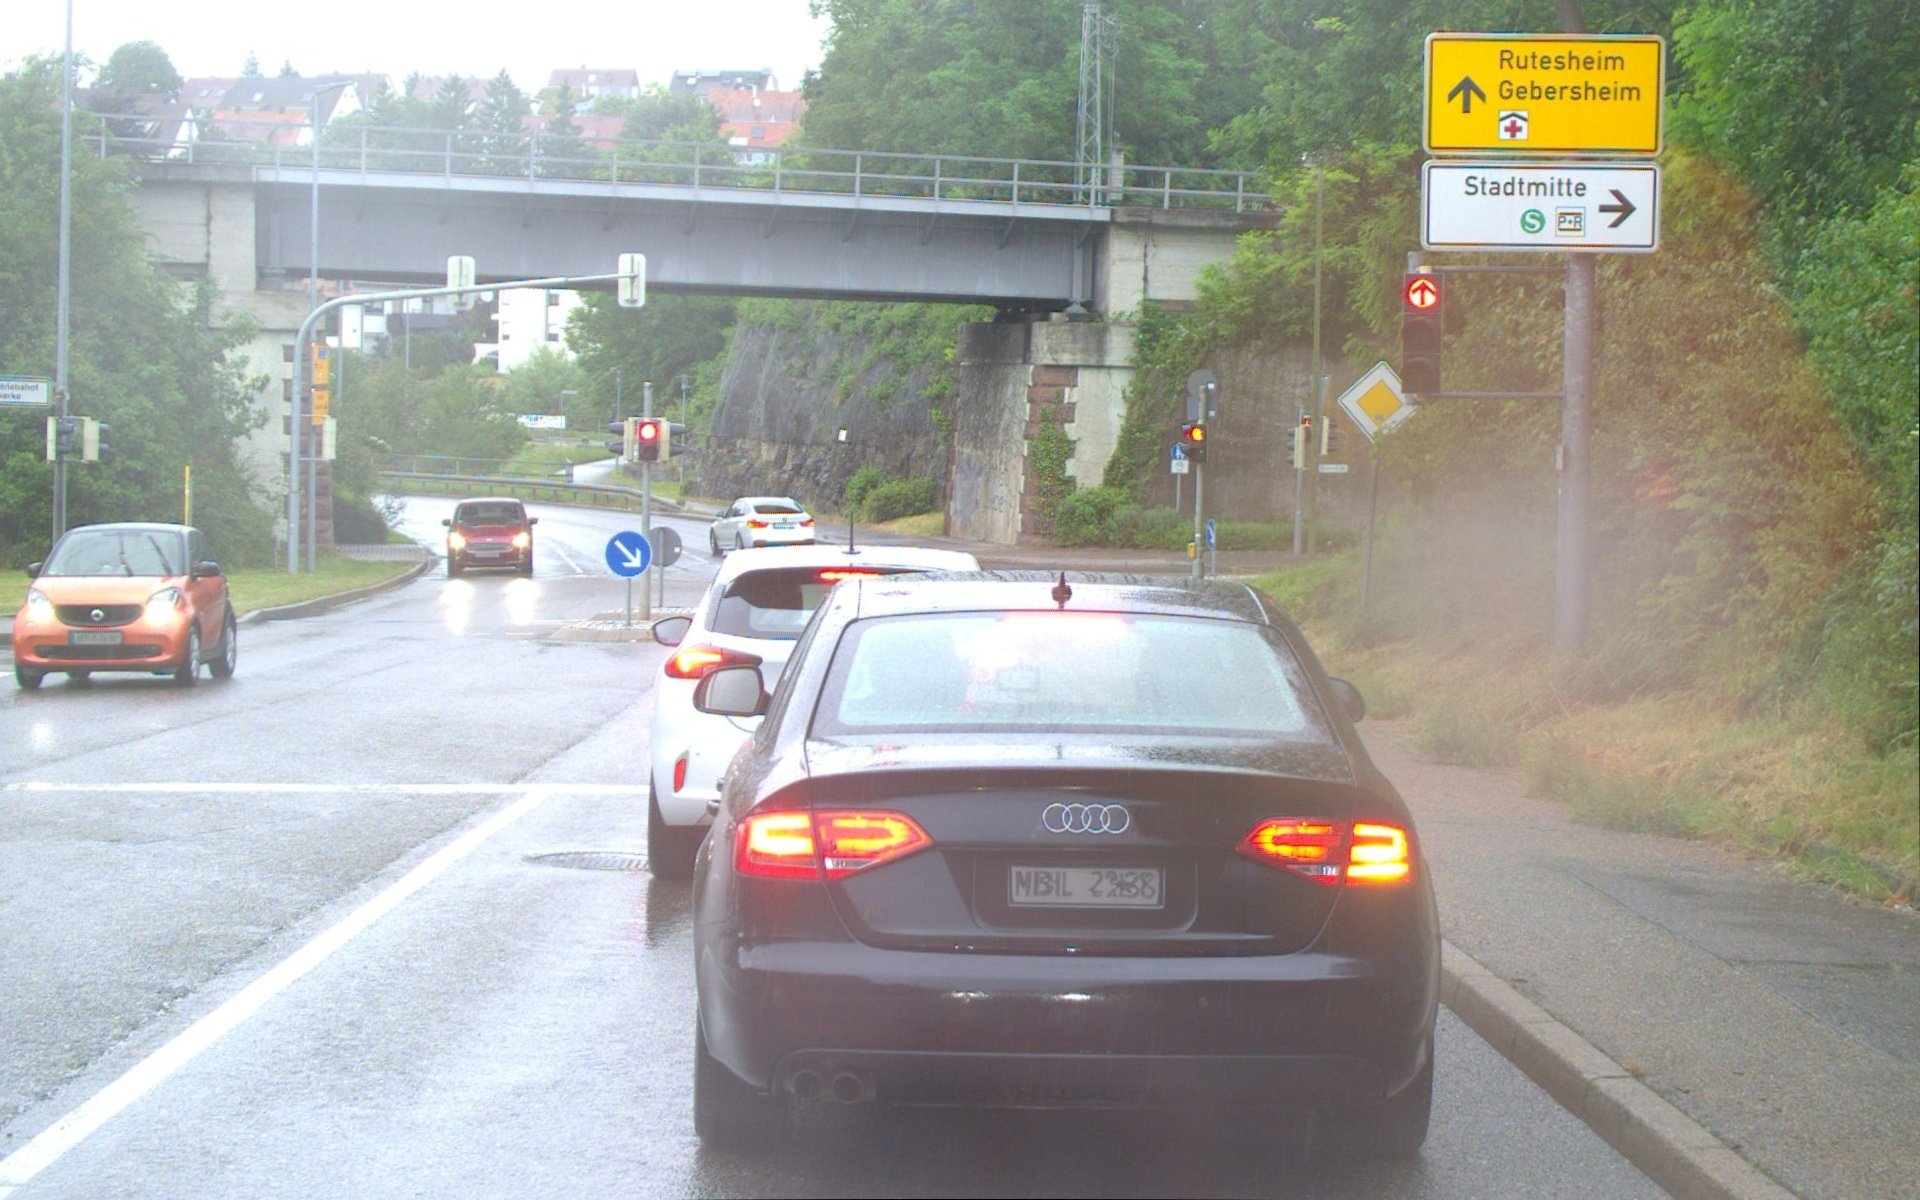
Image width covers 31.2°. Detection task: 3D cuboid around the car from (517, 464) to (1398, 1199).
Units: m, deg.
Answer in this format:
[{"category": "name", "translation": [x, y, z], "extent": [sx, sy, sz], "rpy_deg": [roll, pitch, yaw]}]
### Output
[{"category": "car", "translation": [-0.030, 0.514, 9.325], "extent": [1.870, 1.611, 4.000], "rpy_deg": [0, 0, -1]}]

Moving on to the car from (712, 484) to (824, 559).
[{"category": "car", "translation": [-4.739, -1.895, 84.293], "extent": [1.804, 1.736, 4.481], "rpy_deg": [0, 0, -16]}]

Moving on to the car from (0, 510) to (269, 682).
[{"category": "car", "translation": [-8.151, -0.046, 33.707], "extent": [1.993, 1.579, 4.000], "rpy_deg": [0, 0, -1]}]

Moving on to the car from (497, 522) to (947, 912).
[{"category": "car", "translation": [-0.994, 0.470, 15.976], "extent": [1.823, 1.579, 4.000], "rpy_deg": [0, 0, -1]}]

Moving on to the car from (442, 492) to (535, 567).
[{"category": "car", "translation": [-10.508, -1.585, 76.753], "extent": [1.993, 1.622, 4.001], "rpy_deg": [-1, 1, -7]}]
